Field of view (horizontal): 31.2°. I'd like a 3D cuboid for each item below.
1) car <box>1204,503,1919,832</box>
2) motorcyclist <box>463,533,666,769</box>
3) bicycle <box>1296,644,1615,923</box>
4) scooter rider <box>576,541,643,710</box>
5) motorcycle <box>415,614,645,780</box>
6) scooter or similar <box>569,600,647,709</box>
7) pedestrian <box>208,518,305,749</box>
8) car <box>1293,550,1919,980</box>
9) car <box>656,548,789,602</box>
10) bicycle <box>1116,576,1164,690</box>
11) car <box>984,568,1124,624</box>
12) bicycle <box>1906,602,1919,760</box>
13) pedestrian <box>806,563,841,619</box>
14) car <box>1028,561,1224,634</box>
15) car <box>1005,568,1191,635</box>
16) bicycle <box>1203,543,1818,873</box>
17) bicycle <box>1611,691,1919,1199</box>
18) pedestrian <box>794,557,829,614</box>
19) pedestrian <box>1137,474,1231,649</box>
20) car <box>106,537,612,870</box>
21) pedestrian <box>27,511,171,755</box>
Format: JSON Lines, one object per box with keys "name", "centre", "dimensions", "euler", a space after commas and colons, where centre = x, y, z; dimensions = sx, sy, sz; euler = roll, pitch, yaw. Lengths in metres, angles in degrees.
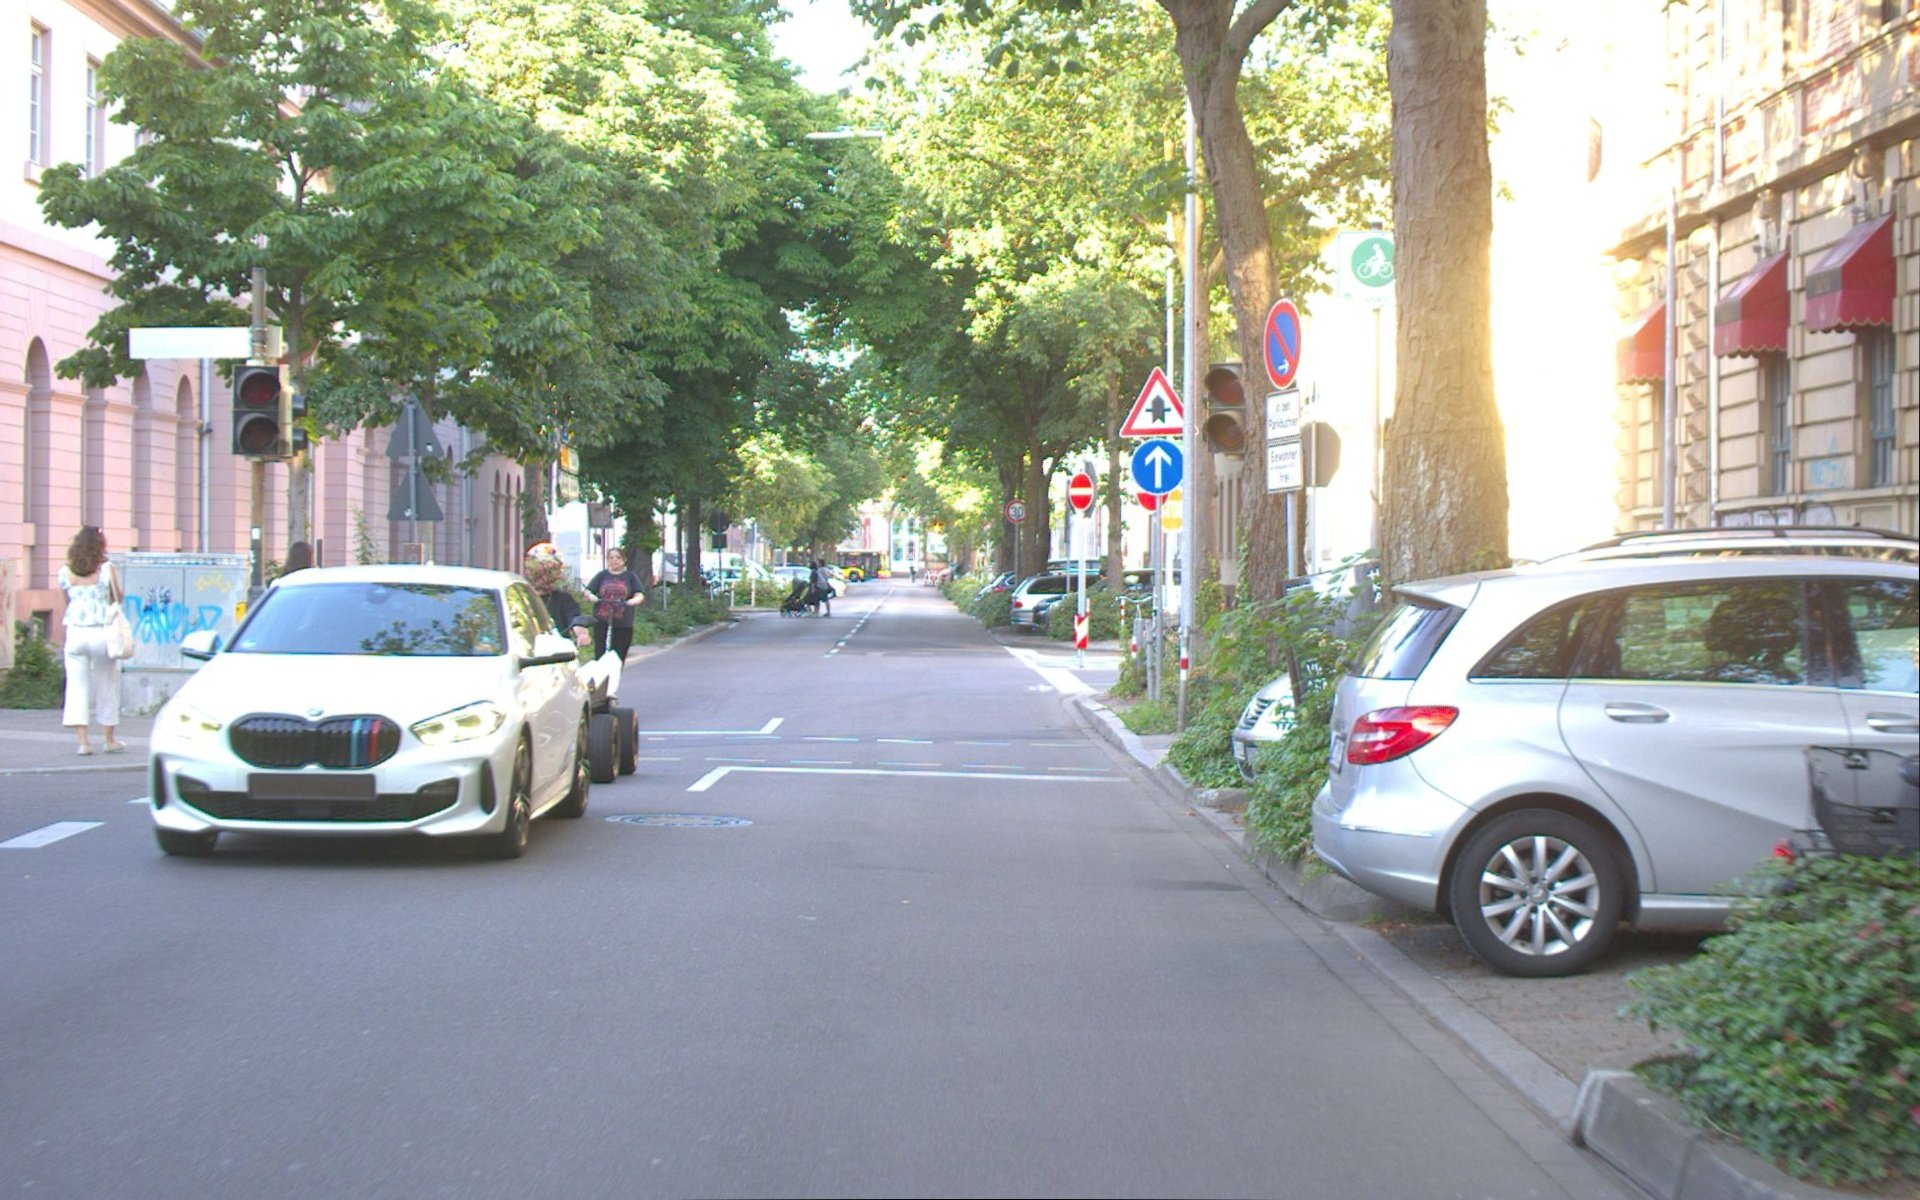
{"name": "car", "centre": [3.880, 0.380, 21.127], "dimensions": [4.539, 1.908, 1.950], "euler": [0, 1, -3]}
{"name": "motorcyclist", "centre": [-2.726, 0.340, 23.849], "dimensions": [1.280, 1.586, 1.077], "euler": [1, 0, 0]}
{"name": "bicycle", "centre": [2.200, 0.808, 15.342], "dimensions": [1.337, 1.200, 0.488], "euler": [0, 0, -1]}
{"name": "scooter rider", "centre": [-3.768, 0.267, 36.949], "dimensions": [0.494, 1.785, 0.874], "euler": [0, 0, 10]}
{"name": "motorcycle", "centre": [-2.958, 0.649, 23.963], "dimensions": [1.312, 1.086, 2.396], "euler": [1, 0, 0]}
{"name": "scooter or similar", "centre": [-3.773, 0.580, 36.931], "dimensions": [0.502, 1.141, 1.249], "euler": [0, 0, 10]}
{"name": "pedestrian", "centre": [-5.831, 0.272, 28.475], "dimensions": [0.768, 1.882, 0.793], "euler": [0, 1, -12]}
{"name": "car", "centre": [3.480, 0.589, 13.514], "dimensions": [4.225, 1.555, 1.970], "euler": [0, 1, 3]}
{"name": "car", "centre": [-9.204, -0.966, 133.565], "dimensions": [5.064, 2.076, 2.263], "euler": [0, 1, -1]}
{"name": "bicycle", "centre": [2.215, 0.397, 42.295], "dimensions": [0.417, 1.367, 1.288], "euler": [0, 1, 11]}
{"name": "car", "centre": [2.731, -0.124, 100.526], "dimensions": [4.014, 1.617, 1.781], "euler": [0, 1, -2]}
{"name": "bicycle", "centre": [7.558, 0.629, 25.975], "dimensions": [0.385, 1.207, 1.725], "euler": [0, 0, 1]}
{"name": "pedestrian", "centre": [-4.033, -0.271, 101.608], "dimensions": [0.875, 1.644, 0.655], "euler": [1, 0, 7]}
{"name": "car", "centre": [3.581, -0.058, 74.622], "dimensions": [4.107, 1.485, 1.850], "euler": [1, 2, -2]}
{"name": "car", "centre": [3.172, 0.031, 79.711], "dimensions": [4.192, 1.475, 1.852], "euler": [-1, 1, 0]}
{"name": "bicycle", "centre": [2.905, 0.566, 18.261], "dimensions": [3.112, 1.657, 0.658], "euler": [1, 1, -5]}
{"name": "bicycle", "centre": [2.715, 0.835, 8.761], "dimensions": [2.019, 1.200, 0.488], "euler": [-2, 1, -13]}
{"name": "pedestrian", "centre": [-4.351, -0.440, 100.839], "dimensions": [0.875, 1.644, 0.655], "euler": [1, 0, 7]}
{"name": "pedestrian", "centre": [2.812, -0.476, 43.232], "dimensions": [1.043, 2.139, 1.063], "euler": [2, 0, 0]}
{"name": "car", "centre": [-3.009, 0.454, 18.105], "dimensions": [1.877, 1.543, 4.275], "euler": [0, 1, 1]}
{"name": "pedestrian", "centre": [-6.535, 0.237, 26.111], "dimensions": [0.790, 1.785, 0.771], "euler": [3, 1, 2]}
